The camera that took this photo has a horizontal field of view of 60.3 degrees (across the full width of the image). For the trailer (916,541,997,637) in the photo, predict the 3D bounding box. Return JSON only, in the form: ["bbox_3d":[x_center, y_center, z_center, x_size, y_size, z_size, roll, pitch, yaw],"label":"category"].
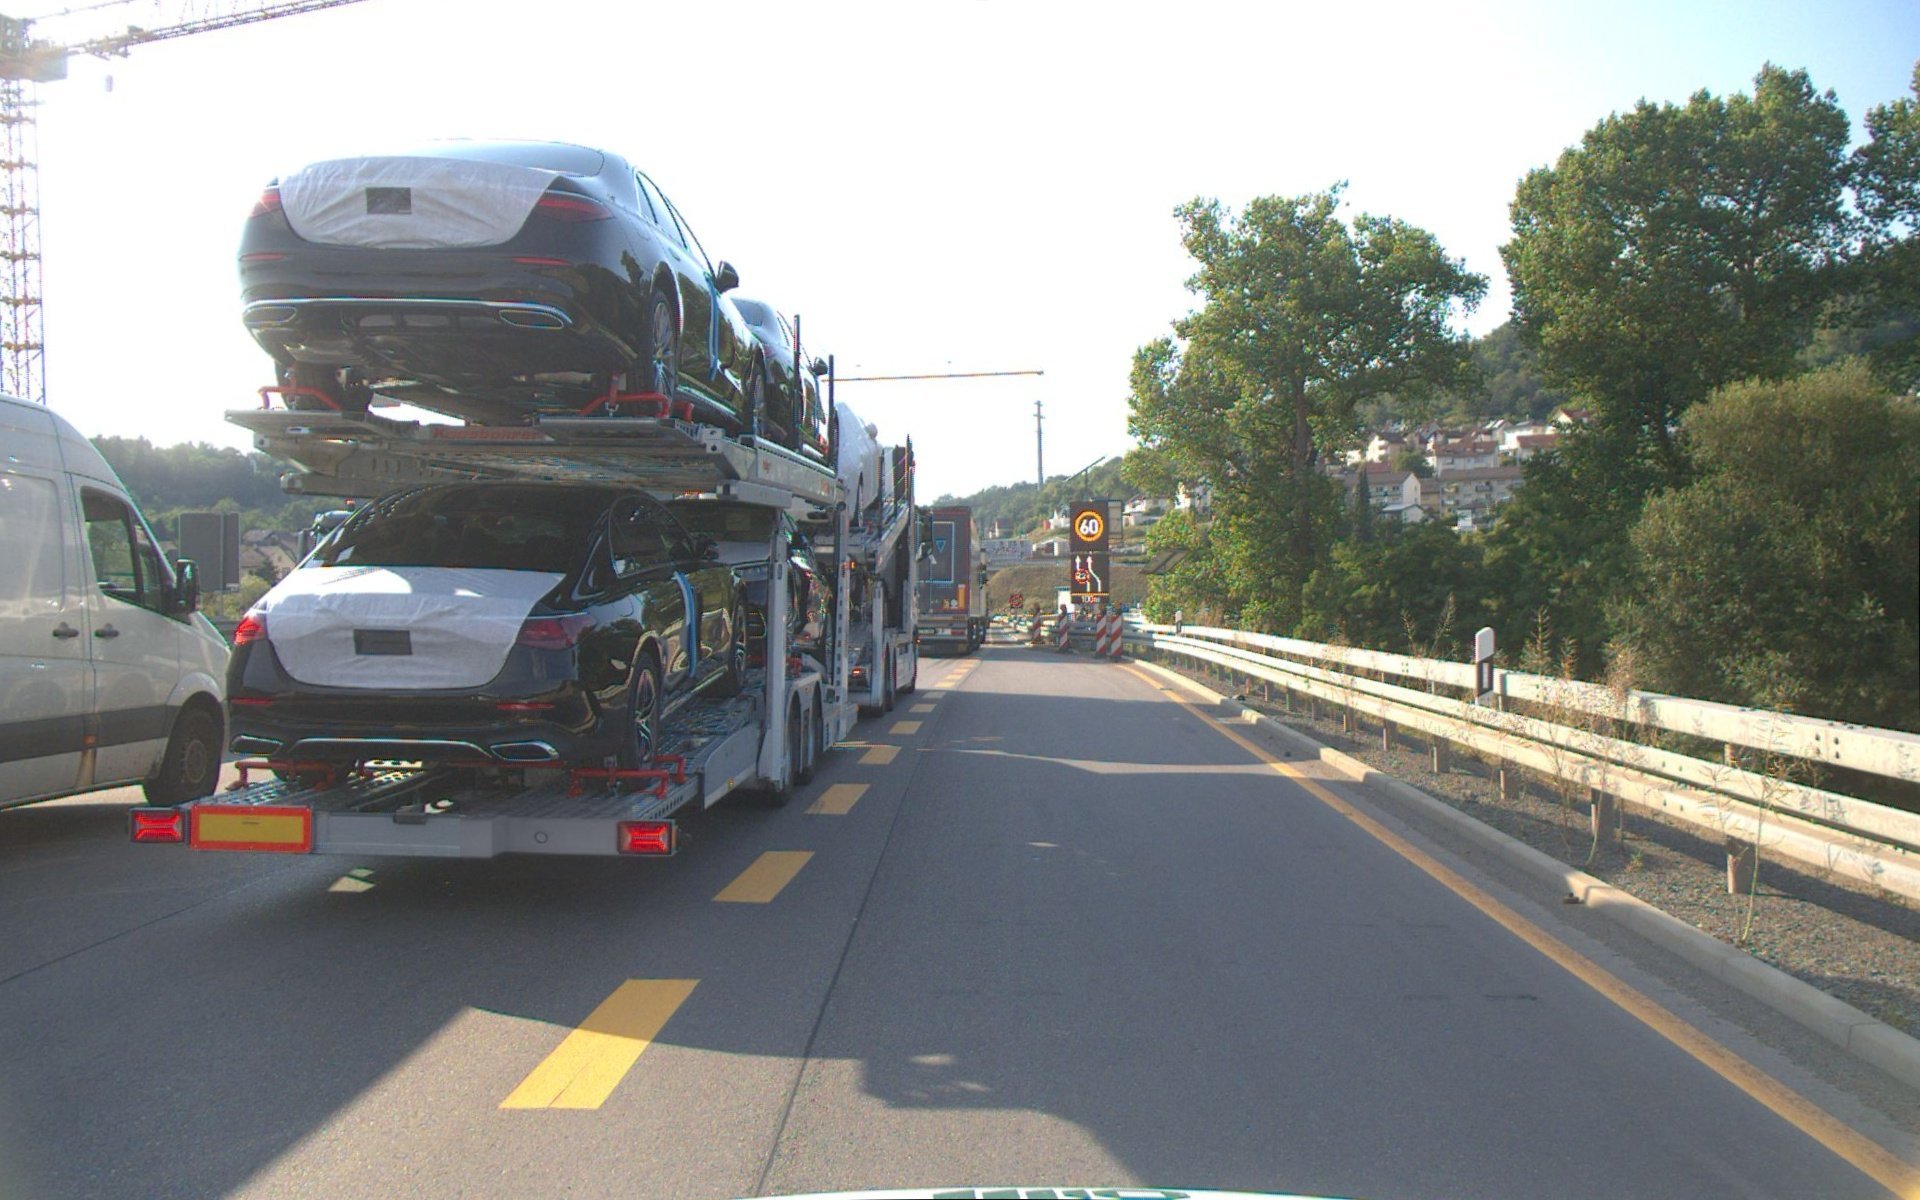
[{"bbox_3d":[0.018,-0.456,78.242,3.315,4.066,14.748,-1,0,2],"label":"trailer"}]

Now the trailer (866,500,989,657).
[{"bbox_3d":[-0.777,-0.593,50.247,2.897,4.163,10.797,-2,0,3],"label":"trailer"}]

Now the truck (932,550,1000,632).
[{"bbox_3d":[0.384,-0.456,85.989,3.274,4.066,6.626,-1,0,2],"label":"truck"}]

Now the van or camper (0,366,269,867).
[{"bbox_3d":[-6.077,0.094,8.986,1.952,2.666,5.905,0,0,2],"label":"van or camper"}]

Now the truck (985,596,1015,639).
[{"bbox_3d":[4.202,1.842,174.477,3.034,4.360,6.626,-1,0,2],"label":"truck"}]

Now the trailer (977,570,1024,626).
[{"bbox_3d":[3.165,-0.151,128.413,3.315,4.066,14.748,-1,0,2],"label":"trailer"}]

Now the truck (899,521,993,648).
[{"bbox_3d":[-0.399,-0.506,57.294,2.825,4.066,6.627,-1,0,3],"label":"truck"}]

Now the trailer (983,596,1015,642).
[{"bbox_3d":[3.983,1.835,166.701,3.039,4.389,14.255,-1,0,2],"label":"trailer"}]

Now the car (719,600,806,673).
[{"bbox_3d":[-5.197,0.917,43.968,1.793,1.783,4.000,-2,0,0],"label":"car"}]

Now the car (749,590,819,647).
[{"bbox_3d":[-5.568,0.580,52.719,1.793,1.683,4.000,-2,0,0],"label":"car"}]

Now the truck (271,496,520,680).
[{"bbox_3d":[-11.532,-0.235,34.428,2.836,3.456,5.954,-1,0,3],"label":"truck"}]

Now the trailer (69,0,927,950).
[{"bbox_3d":[-2.105,-0.589,14.804,2.798,4.066,15.749,-1,0,2],"label":"trailer"}]

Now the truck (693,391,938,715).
[{"bbox_3d":[-1.880,-0.591,24.322,2.789,4.066,6.626,-1,0,2],"label":"truck"}]
